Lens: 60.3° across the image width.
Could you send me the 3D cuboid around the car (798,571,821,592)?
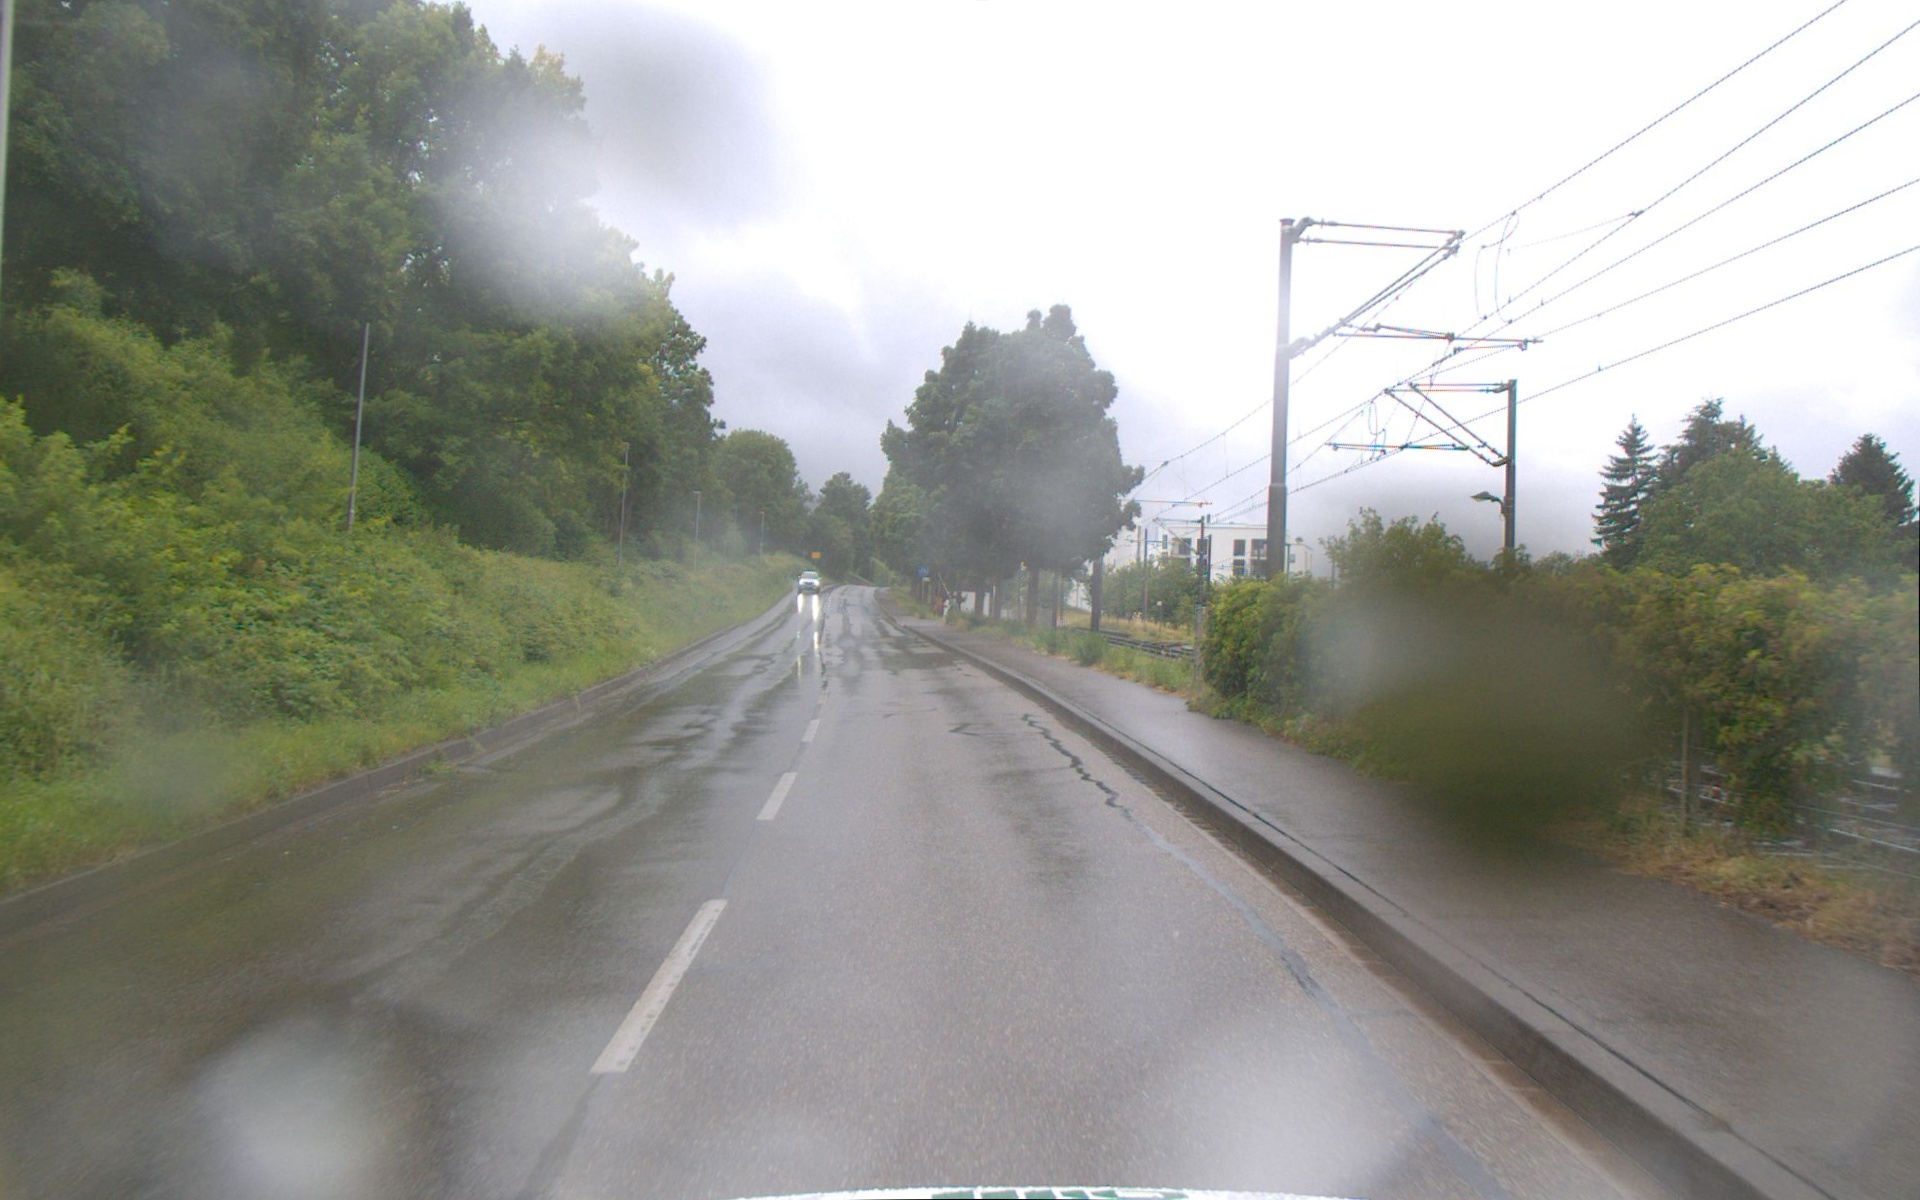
[{"bbox_3d":[-12.476,-1.527,136.683,1.711,1.640,4.082,3,1,-7],"label":"car"}]
